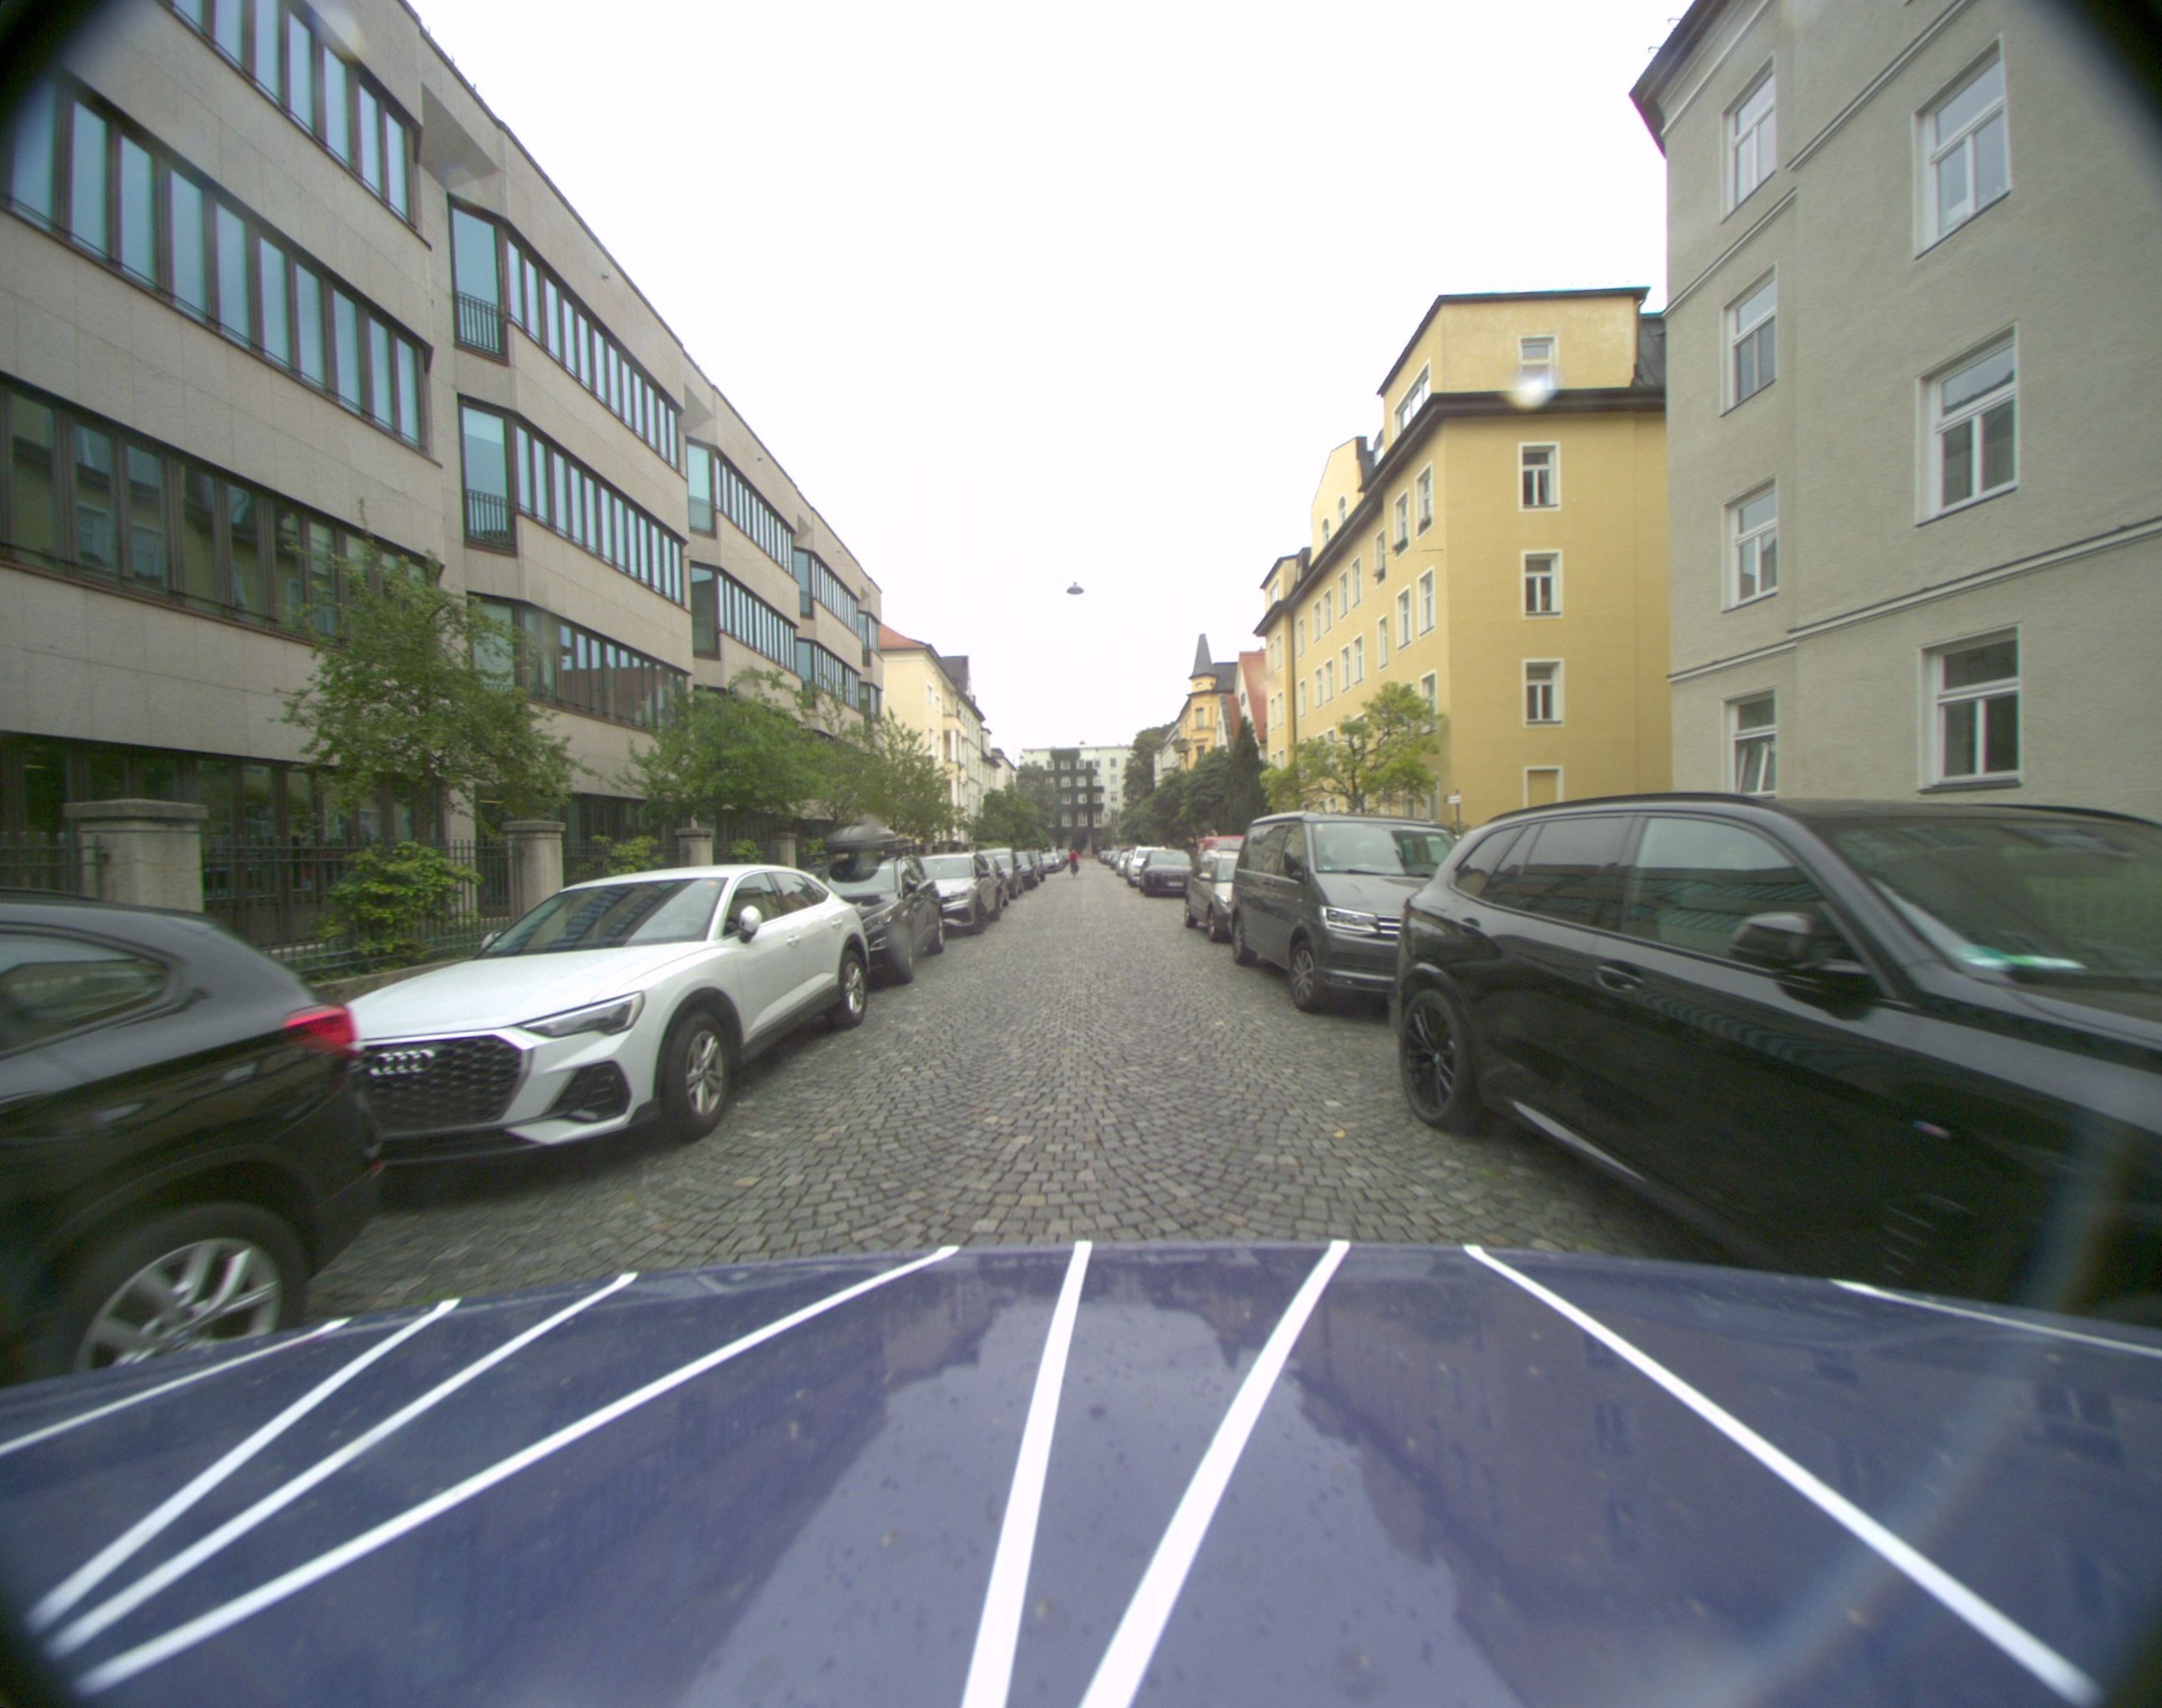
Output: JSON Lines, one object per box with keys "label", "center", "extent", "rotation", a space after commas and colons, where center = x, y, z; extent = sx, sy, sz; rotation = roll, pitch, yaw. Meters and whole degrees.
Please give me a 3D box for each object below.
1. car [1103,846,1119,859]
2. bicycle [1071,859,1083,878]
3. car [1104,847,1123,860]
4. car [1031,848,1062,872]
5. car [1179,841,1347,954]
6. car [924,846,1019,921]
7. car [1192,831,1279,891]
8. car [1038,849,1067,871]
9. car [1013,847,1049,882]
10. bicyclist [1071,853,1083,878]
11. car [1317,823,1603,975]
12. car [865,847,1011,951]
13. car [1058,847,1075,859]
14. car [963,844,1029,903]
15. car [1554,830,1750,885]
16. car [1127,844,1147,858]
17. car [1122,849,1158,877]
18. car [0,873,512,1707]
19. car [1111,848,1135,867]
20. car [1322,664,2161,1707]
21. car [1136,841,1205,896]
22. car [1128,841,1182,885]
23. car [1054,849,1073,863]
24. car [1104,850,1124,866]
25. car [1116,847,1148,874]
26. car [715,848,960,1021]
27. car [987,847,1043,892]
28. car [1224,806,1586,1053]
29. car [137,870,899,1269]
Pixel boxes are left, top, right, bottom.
{"label": "car", "center": [3.647, -0.199, 92.910], "extent": [1.846, 1.577, 4.191], "rotation": [0, 1, -1]}
{"label": "bicycle", "center": [-0.209, 0.802, 43.332], "extent": [0.636, 1.021, 1.955], "rotation": [-2, 1, 0]}
{"label": "car", "center": [3.753, -0.088, 87.185], "extent": [1.875, 1.462, 5.132], "rotation": [0, 1, -1]}
{"label": "car", "center": [-2.546, 0.417, 57.563], "extent": [1.998, 1.543, 5.014], "rotation": [-4, 1, 1]}
{"label": "car", "center": [3.110, 0.654, 13.972], "extent": [1.870, 1.725, 4.402], "rotation": [1, 1, -2]}
{"label": "car", "center": [-2.983, 0.729, 21.696], "extent": [1.878, 1.725, 4.658], "rotation": [-5, 1, 0]}
{"label": "car", "center": [5.588, 0.219, 28.202], "extent": [1.999, 1.920, 5.329], "rotation": [-3, 1, 0]}
{"label": "car", "center": [-2.332, 0.461, 62.800], "extent": [1.998, 1.543, 4.985], "rotation": [-3, 1, 1]}
{"label": "car", "center": [-2.703, 0.534, 41.477], "extent": [1.623, 1.741, 3.886], "rotation": [-4, 1, -1]}
{"label": "bicyclist", "center": [-0.218, 0.652, 43.360], "extent": [0.648, 1.351, 0.656], "rotation": [-3, 1, 0]}
{"label": "car", "center": [5.377, 0.528, 11.641], "extent": [1.950, 1.725, 4.656], "rotation": [-4, 1, 0]}
{"label": "car", "center": [-2.776, 0.774, 15.960], "extent": [1.877, 1.725, 4.891], "rotation": [-3, 1, 2]}
{"label": "car", "center": [-1.964, -0.126, 104.360], "extent": [1.942, 1.457, 4.532], "rotation": [-3, 1, 3]}
{"label": "car", "center": [-2.981, 0.625, 27.507], "extent": [1.793, 1.786, 4.508], "rotation": [-5, 1, -1]}
{"label": "car", "center": [15.832, 0.078, 21.227], "extent": [4.077, 1.415, 1.833], "rotation": [-1, 1, 1]}
{"label": "car", "center": [6.224, -0.392, 84.844], "extent": [1.846, 1.457, 4.389], "rotation": [-2, 1, 1]}
{"label": "car", "center": [3.232, 0.468, 42.504], "extent": [1.734, 1.410, 3.936], "rotation": [1, 1, 1]}
{"label": "car", "center": [-3.193, 0.993, 0.556], "extent": [1.878, 1.660, 4.657], "rotation": [-4, 1, 1]}
{"label": "car", "center": [3.425, 0.285, 62.799], "extent": [1.819, 1.447, 4.912], "rotation": [1, 1, 2]}
{"label": "car", "center": [2.648, 0.676, 2.487], "extent": [1.998, 1.906, 5.176], "rotation": [2, 1, 0]}
{"label": "car", "center": [3.090, 0.439, 27.137], "extent": [1.922, 1.725, 4.755], "rotation": [3, 1, 1]}
{"label": "car", "center": [3.188, 0.351, 33.701], "extent": [2.011, 1.798, 5.174], "rotation": [0, 1, 2]}
{"label": "car", "center": [-2.057, 0.231, 89.089], "extent": [1.909, 1.494, 5.105], "rotation": [-4, 1, 1]}
{"label": "car", "center": [3.459, 0.377, 80.606], "extent": [1.744, 1.577, 4.190], "rotation": [0, 1, -2]}
{"label": "car", "center": [3.134, 0.358, 47.073], "extent": [1.718, 1.553, 4.390], "rotation": [0, 1, 0]}
{"label": "car", "center": [-3.024, 0.865, 10.665], "extent": [1.878, 1.725, 4.746], "rotation": [-5, 1, -2]}
{"label": "car", "center": [-2.772, 0.595, 32.946], "extent": [1.865, 1.692, 4.812], "rotation": [-4, 1, 1]}
{"label": "car", "center": [2.982, 0.569, 8.347], "extent": [1.878, 1.906, 4.826], "rotation": [1, 1, 0]}
{"label": "car", "center": [-2.957, 0.978, 5.532], "extent": [1.877, 1.482, 4.617], "rotation": [-4, 0, 3]}
